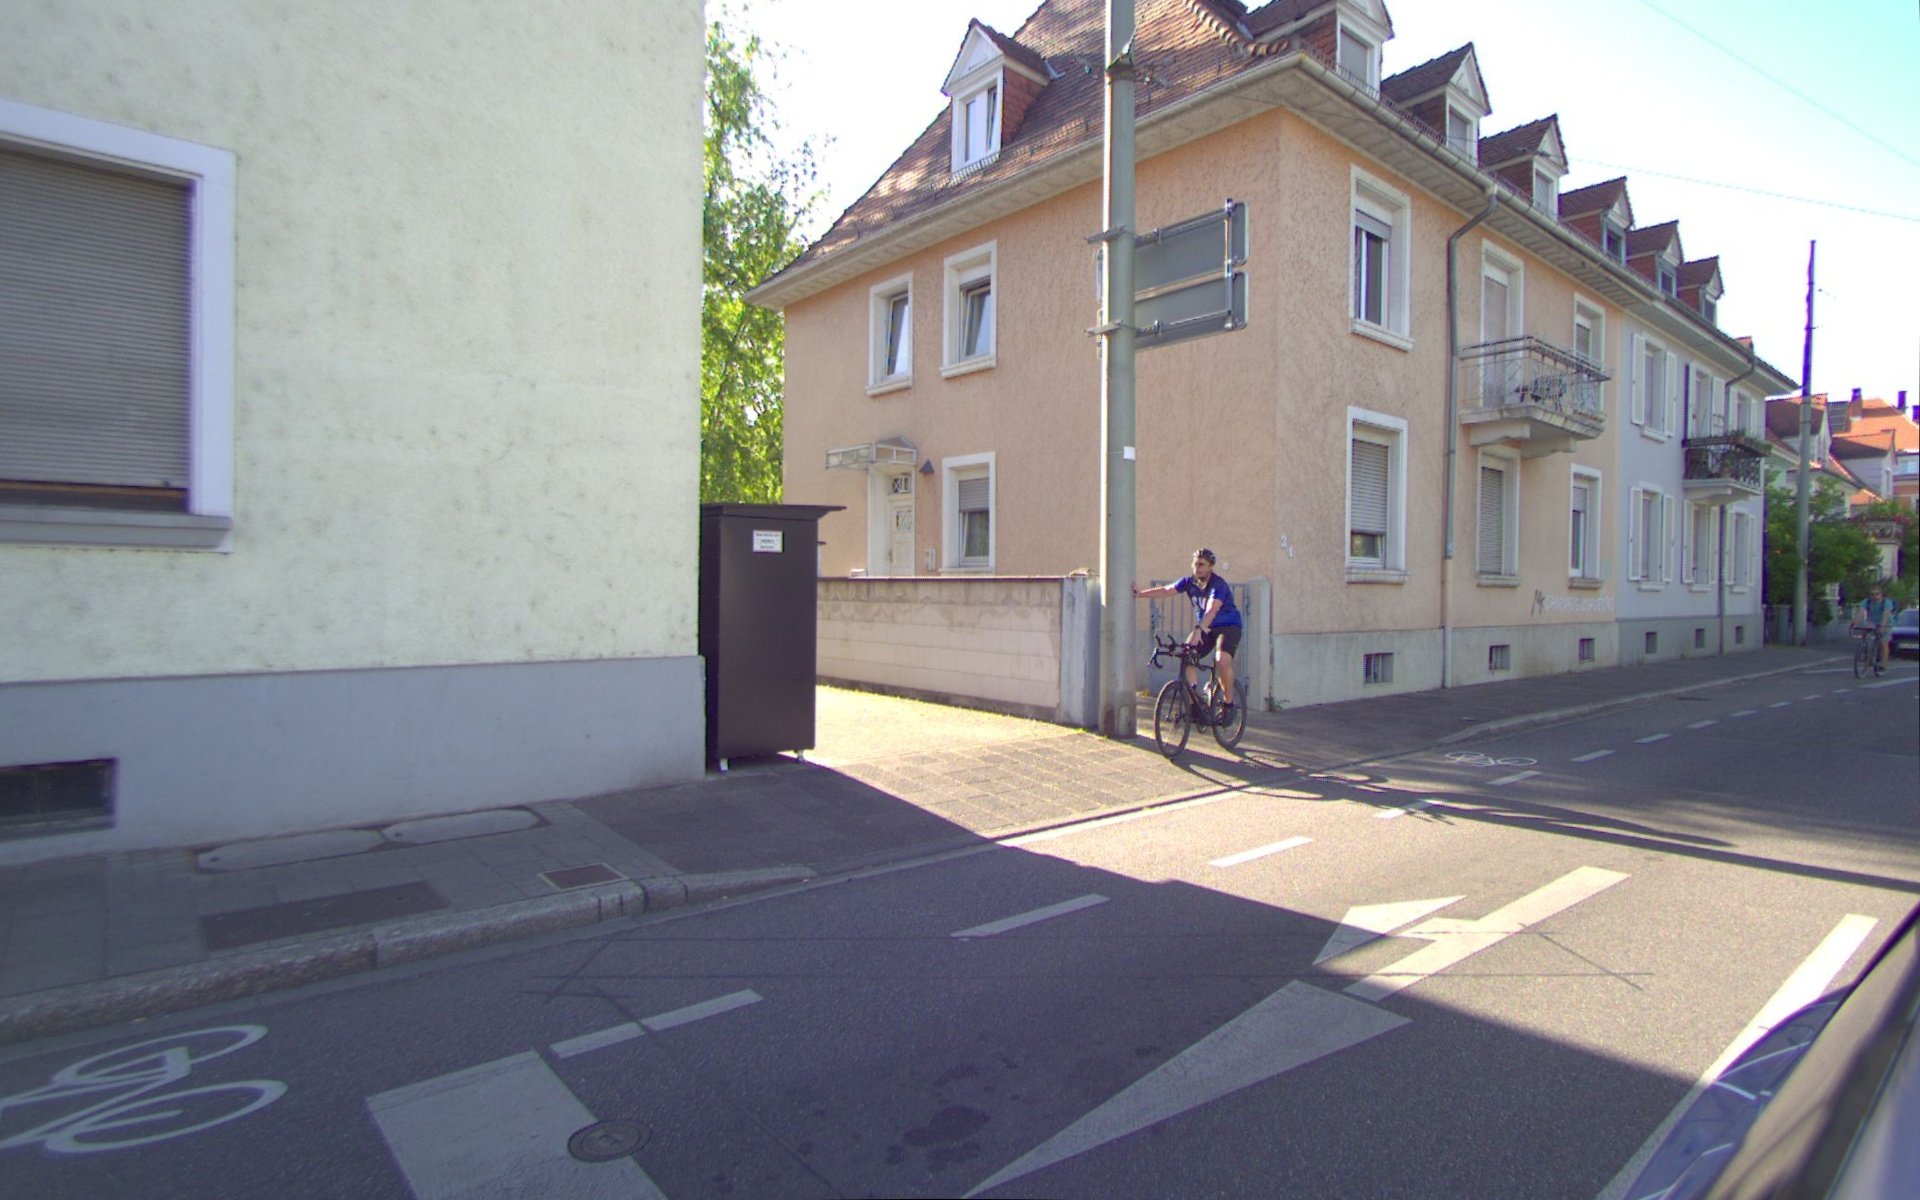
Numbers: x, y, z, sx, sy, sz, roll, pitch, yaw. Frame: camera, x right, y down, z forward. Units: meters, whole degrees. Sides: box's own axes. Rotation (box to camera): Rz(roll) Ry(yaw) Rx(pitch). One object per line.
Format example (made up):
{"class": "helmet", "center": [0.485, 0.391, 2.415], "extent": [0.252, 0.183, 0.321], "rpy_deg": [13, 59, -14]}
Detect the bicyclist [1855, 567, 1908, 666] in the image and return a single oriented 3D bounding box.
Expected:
{"class": "bicyclist", "center": [18.906, 0.342, 20.757], "extent": [0.926, 1.959, 0.520], "rpy_deg": [4, -2, -30]}

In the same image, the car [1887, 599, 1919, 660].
{"class": "car", "center": [26.700, 0.755, 27.372], "extent": [3.742, 1.601, 1.696], "rpy_deg": [0, -1, -36]}

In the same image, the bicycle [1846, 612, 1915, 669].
{"class": "bicycle", "center": [18.891, 0.835, 20.757], "extent": [1.759, 1.105, 0.520], "rpy_deg": [3, -1, -30]}

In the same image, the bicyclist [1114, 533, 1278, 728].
{"class": "bicyclist", "center": [2.179, 0.242, 9.407], "extent": [0.870, 1.627, 1.052], "rpy_deg": [1, 5, -41]}

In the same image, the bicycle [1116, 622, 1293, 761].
{"class": "bicycle", "center": [2.255, 0.780, 9.234], "extent": [1.744, 1.081, 0.592], "rpy_deg": [0, 5, -41]}
